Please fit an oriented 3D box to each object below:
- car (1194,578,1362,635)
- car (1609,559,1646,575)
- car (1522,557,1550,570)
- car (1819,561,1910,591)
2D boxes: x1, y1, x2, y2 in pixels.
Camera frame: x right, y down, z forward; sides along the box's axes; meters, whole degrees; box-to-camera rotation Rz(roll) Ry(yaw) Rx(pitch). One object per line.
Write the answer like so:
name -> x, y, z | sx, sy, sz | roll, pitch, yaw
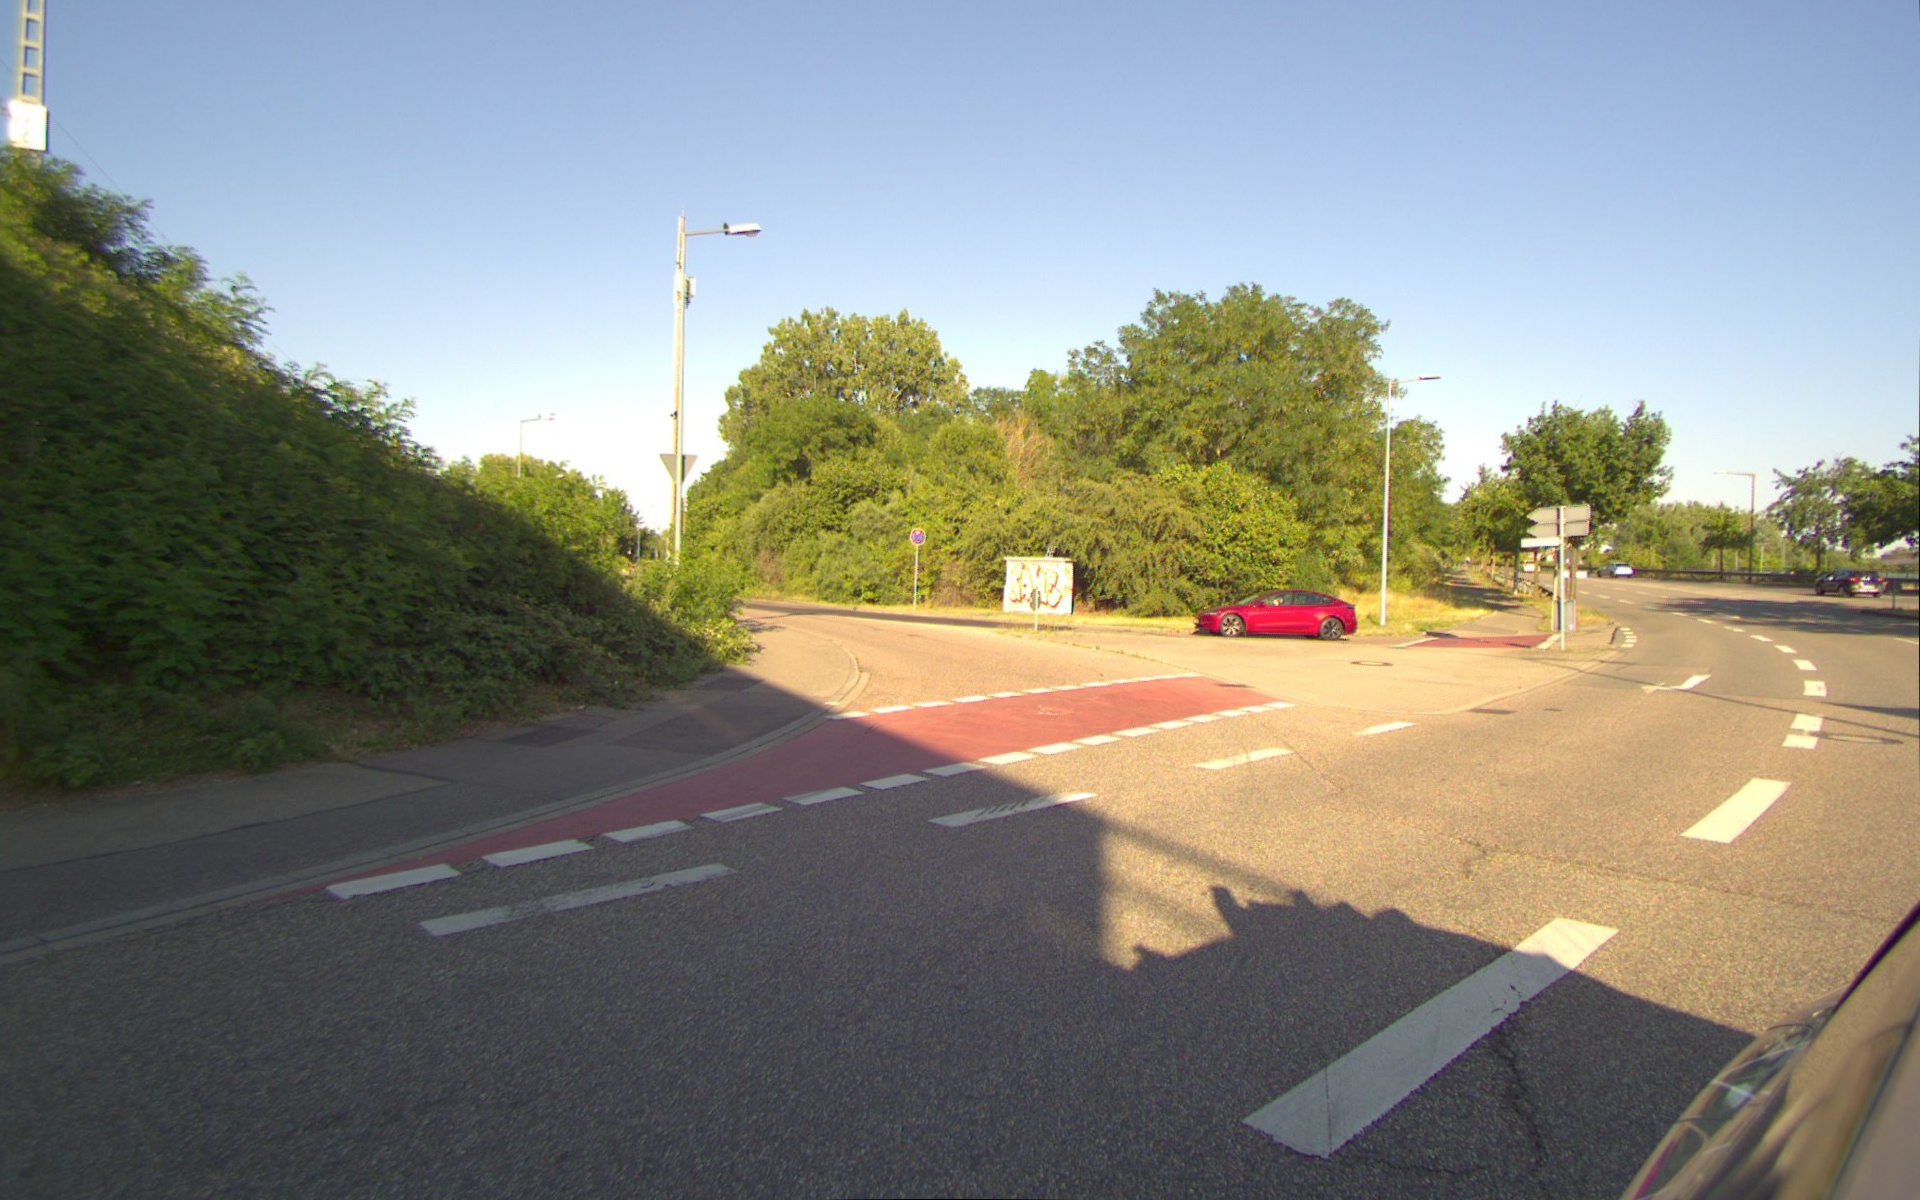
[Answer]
car -> 9.133, 0.187, 29.308 | 4.278, 1.460, 1.782 | 2, -1, 1
car -> 62.851, -3.124, 95.410 | 1.654, 1.480, 4.088 | 0, 2, 15
car -> 65.120, -4.100, 114.452 | 1.719, 1.481, 3.753 | -1, 1, 12
car -> 50.920, -1.389, 57.088 | 1.823, 1.623, 4.381 | 1, 2, 12
